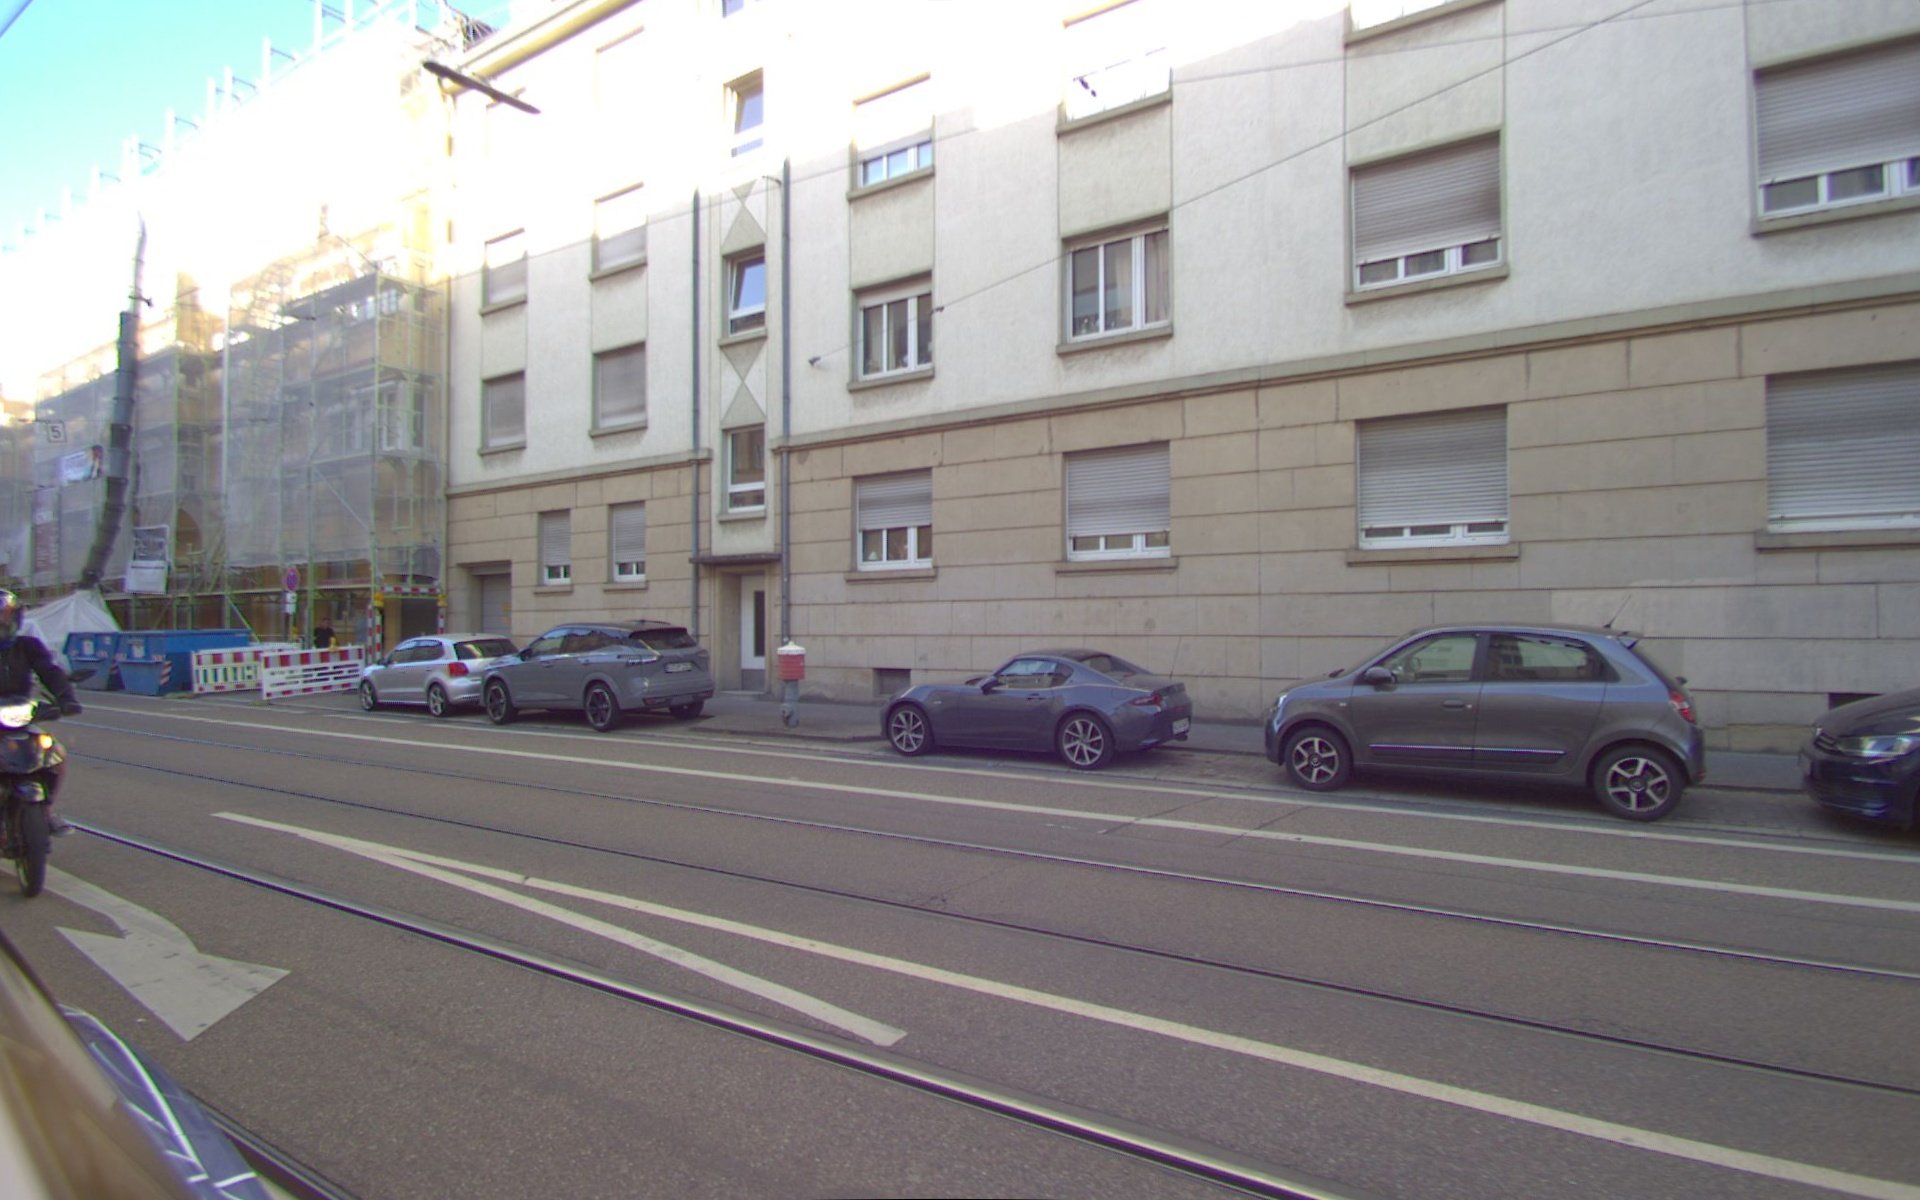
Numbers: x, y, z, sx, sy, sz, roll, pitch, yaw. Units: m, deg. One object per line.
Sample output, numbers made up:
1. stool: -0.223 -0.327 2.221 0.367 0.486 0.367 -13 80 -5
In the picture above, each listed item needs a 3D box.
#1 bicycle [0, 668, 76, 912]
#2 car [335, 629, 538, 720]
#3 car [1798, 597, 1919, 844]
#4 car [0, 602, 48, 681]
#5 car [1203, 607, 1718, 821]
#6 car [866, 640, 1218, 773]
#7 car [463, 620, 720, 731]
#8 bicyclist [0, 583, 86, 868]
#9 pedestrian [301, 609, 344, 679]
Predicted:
1. bicycle: -5.616 1.017 5.831 0.729 1.186 1.977 1 -2 -40
2. car: -9.906 1.321 19.065 3.990 1.426 1.685 -1 2 34
3. car: 8.334 0.787 6.556 4.228 1.627 1.687 -1 0 31
4. car: -32.774 1.389 33.751 5.984 2.488 2.102 -2 -3 34
5. car: 4.487 0.880 9.415 3.990 1.581 1.685 -1 0 34
6. car: 0.908 1.135 11.868 3.774 1.225 1.686 -1 0 33
7. car: -6.041 1.143 16.410 4.394 1.580 1.685 -2 -2 34
8. bicyclist: -5.626 0.701 5.847 0.831 1.566 0.851 1 -2 -40
9. pedestrian: -16.056 1.097 25.499 0.576 1.707 0.714 -1 -1 12
